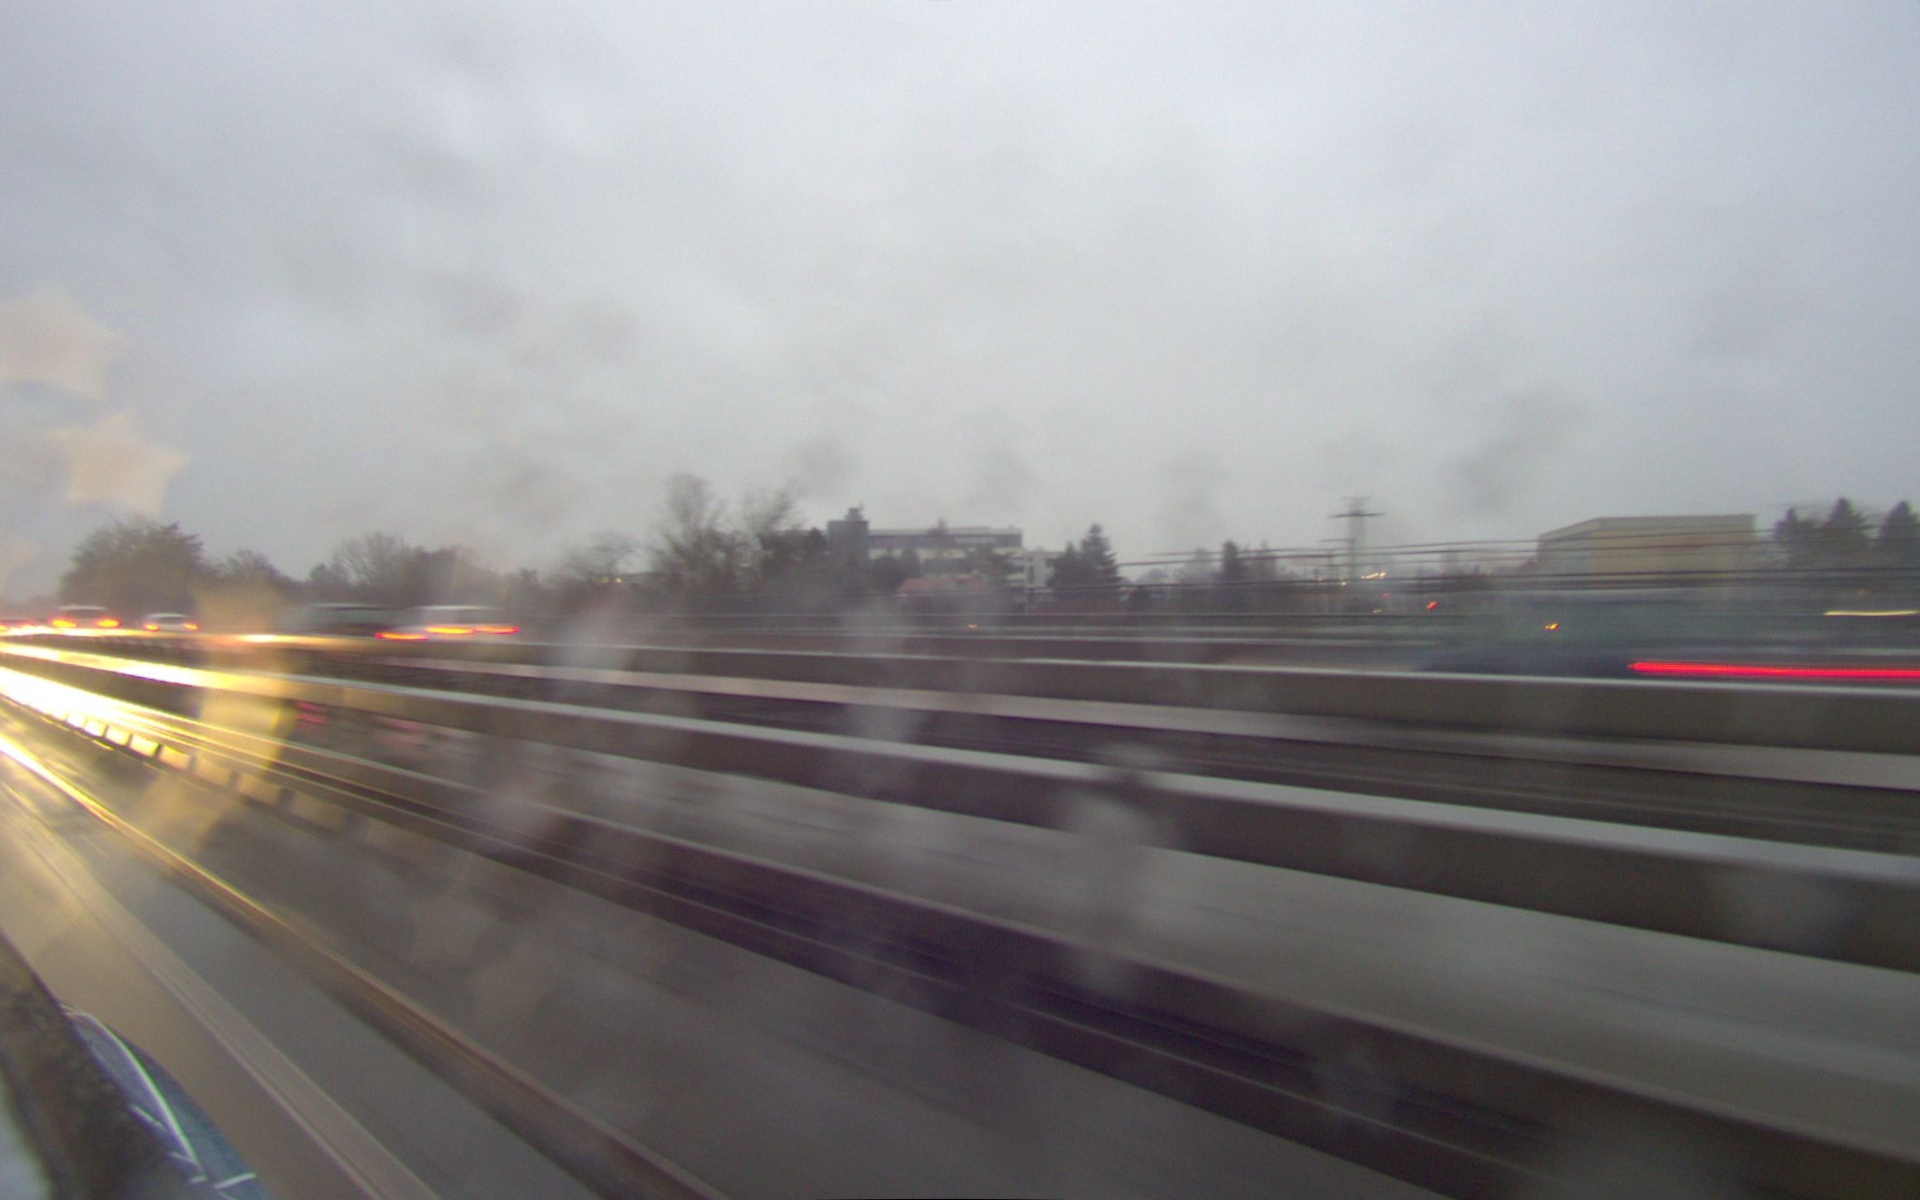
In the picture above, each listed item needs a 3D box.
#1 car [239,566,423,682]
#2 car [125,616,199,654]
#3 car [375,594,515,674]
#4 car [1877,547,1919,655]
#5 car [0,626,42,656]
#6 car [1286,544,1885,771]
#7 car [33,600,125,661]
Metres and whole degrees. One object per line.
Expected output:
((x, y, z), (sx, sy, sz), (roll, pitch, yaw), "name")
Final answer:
((-12.618, 0.475, 20.199), (4.371, 2.068, 1.944), (-2, -1, 42), "car")
((-35.277, 1.544, 44.709), (3.919, 1.578, 1.836), (-2, -2, 41), "car")
((-12.857, 0.824, 25.170), (3.998, 1.829, 1.724), (-2, -1, 41), "car")
((19.866, -0.016, 18.870), (3.998, 2.029, 1.973), (-1, 0, 41), "car")
((-51.351, 2.212, 54.794), (4.371, 1.513, 1.944), (-2, -1, 42), "car")
((5.326, 0.426, 8.989), (4.198, 1.535, 1.947), (-2, -1, 42), "car")
((-33.763, 1.151, 38.739), (4.459, 2.164, 2.060), (-2, -1, 41), "car")
